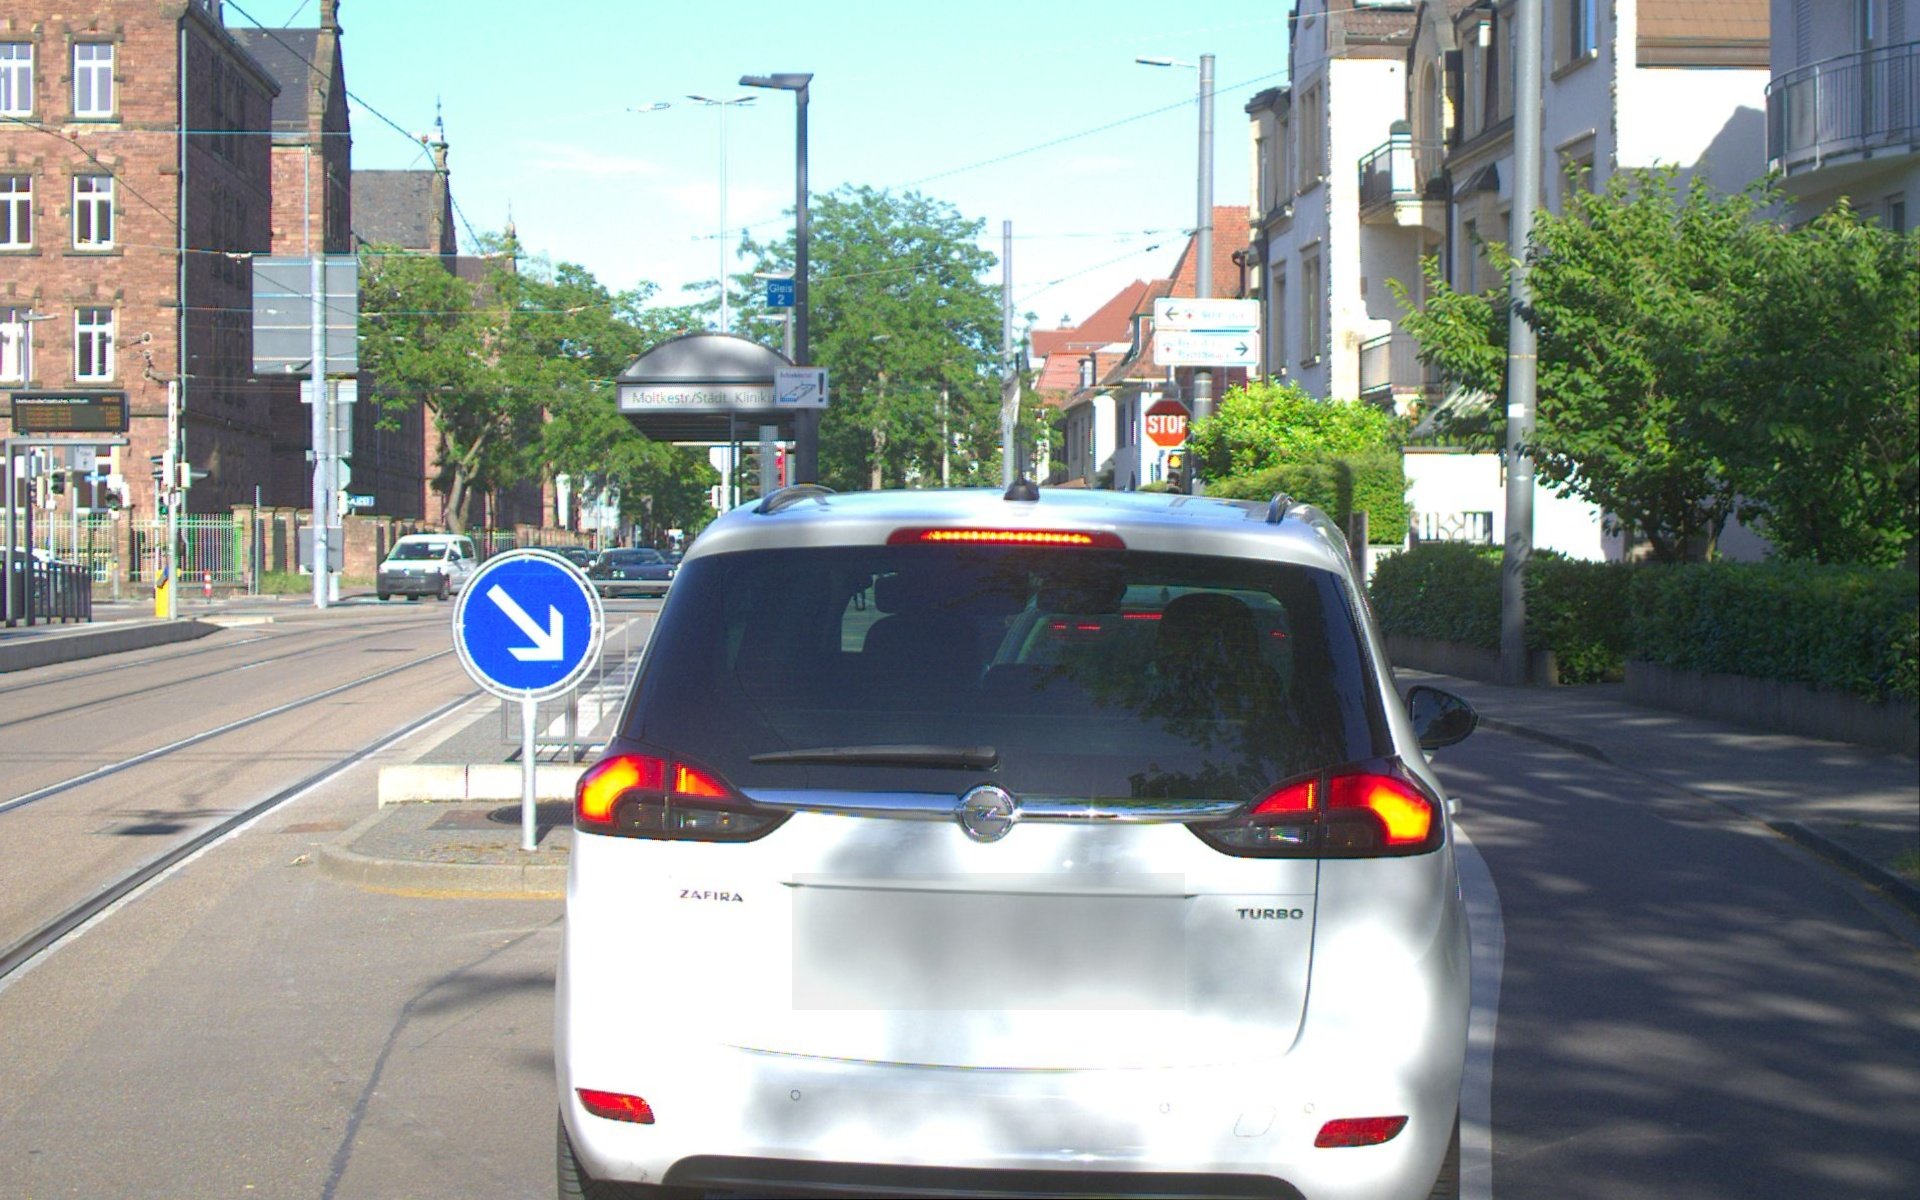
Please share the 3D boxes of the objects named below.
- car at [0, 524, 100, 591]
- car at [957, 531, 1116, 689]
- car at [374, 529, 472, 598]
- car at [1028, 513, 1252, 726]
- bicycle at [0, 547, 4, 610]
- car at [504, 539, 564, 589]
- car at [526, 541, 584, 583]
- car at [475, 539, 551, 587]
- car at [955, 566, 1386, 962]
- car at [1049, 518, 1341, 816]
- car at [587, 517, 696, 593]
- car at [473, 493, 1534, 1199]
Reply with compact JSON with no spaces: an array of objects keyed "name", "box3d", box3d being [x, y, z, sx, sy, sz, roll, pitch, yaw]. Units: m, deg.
[{"name":"car","box3d":[-25.278,-1.149,92.429,3.986,1.803,1.704,0,1,-5]},{"name":"car","box3d":[0.819,0.076,38.729,1.596,1.629,3.901,2,1,-1]},{"name":"car","box3d":[-14.189,-0.996,91.070,1.827,1.782,4.255,0,1,2]},{"name":"car","box3d":[1.467,0.121,29.201,1.596,1.629,3.901,2,1,-1]},{"name":"bicycle","box3d":[-19.166,-0.411,66.735,0.777,1.226,2.089,0,1,-4]},{"name":"car","box3d":[-14.180,-1.184,114.634,1.826,1.611,4.328,0,0,-5]},{"name":"car","box3d":[-14.427,-1.350,122.529,1.826,1.441,4.328,0,0,-4]},{"name":"car","box3d":[-13.450,-1.133,103.692,1.798,1.377,4.495,0,1,-1]},{"name":"car","box3d":[0.951,0.593,14.790,1.569,1.396,3.783,2,1,5]},{"name":"car","box3d":[1.470,0.333,21.039,1.569,1.609,3.783,2,1,5]},{"name":"car","box3d":[-8.666,-1.232,93.340,1.993,2.007,4.001,0,1,-20]},{"name":"car","box3d":[0.236,0.568,8.096,1.878,1.579,3.999,1,1,5]}]
